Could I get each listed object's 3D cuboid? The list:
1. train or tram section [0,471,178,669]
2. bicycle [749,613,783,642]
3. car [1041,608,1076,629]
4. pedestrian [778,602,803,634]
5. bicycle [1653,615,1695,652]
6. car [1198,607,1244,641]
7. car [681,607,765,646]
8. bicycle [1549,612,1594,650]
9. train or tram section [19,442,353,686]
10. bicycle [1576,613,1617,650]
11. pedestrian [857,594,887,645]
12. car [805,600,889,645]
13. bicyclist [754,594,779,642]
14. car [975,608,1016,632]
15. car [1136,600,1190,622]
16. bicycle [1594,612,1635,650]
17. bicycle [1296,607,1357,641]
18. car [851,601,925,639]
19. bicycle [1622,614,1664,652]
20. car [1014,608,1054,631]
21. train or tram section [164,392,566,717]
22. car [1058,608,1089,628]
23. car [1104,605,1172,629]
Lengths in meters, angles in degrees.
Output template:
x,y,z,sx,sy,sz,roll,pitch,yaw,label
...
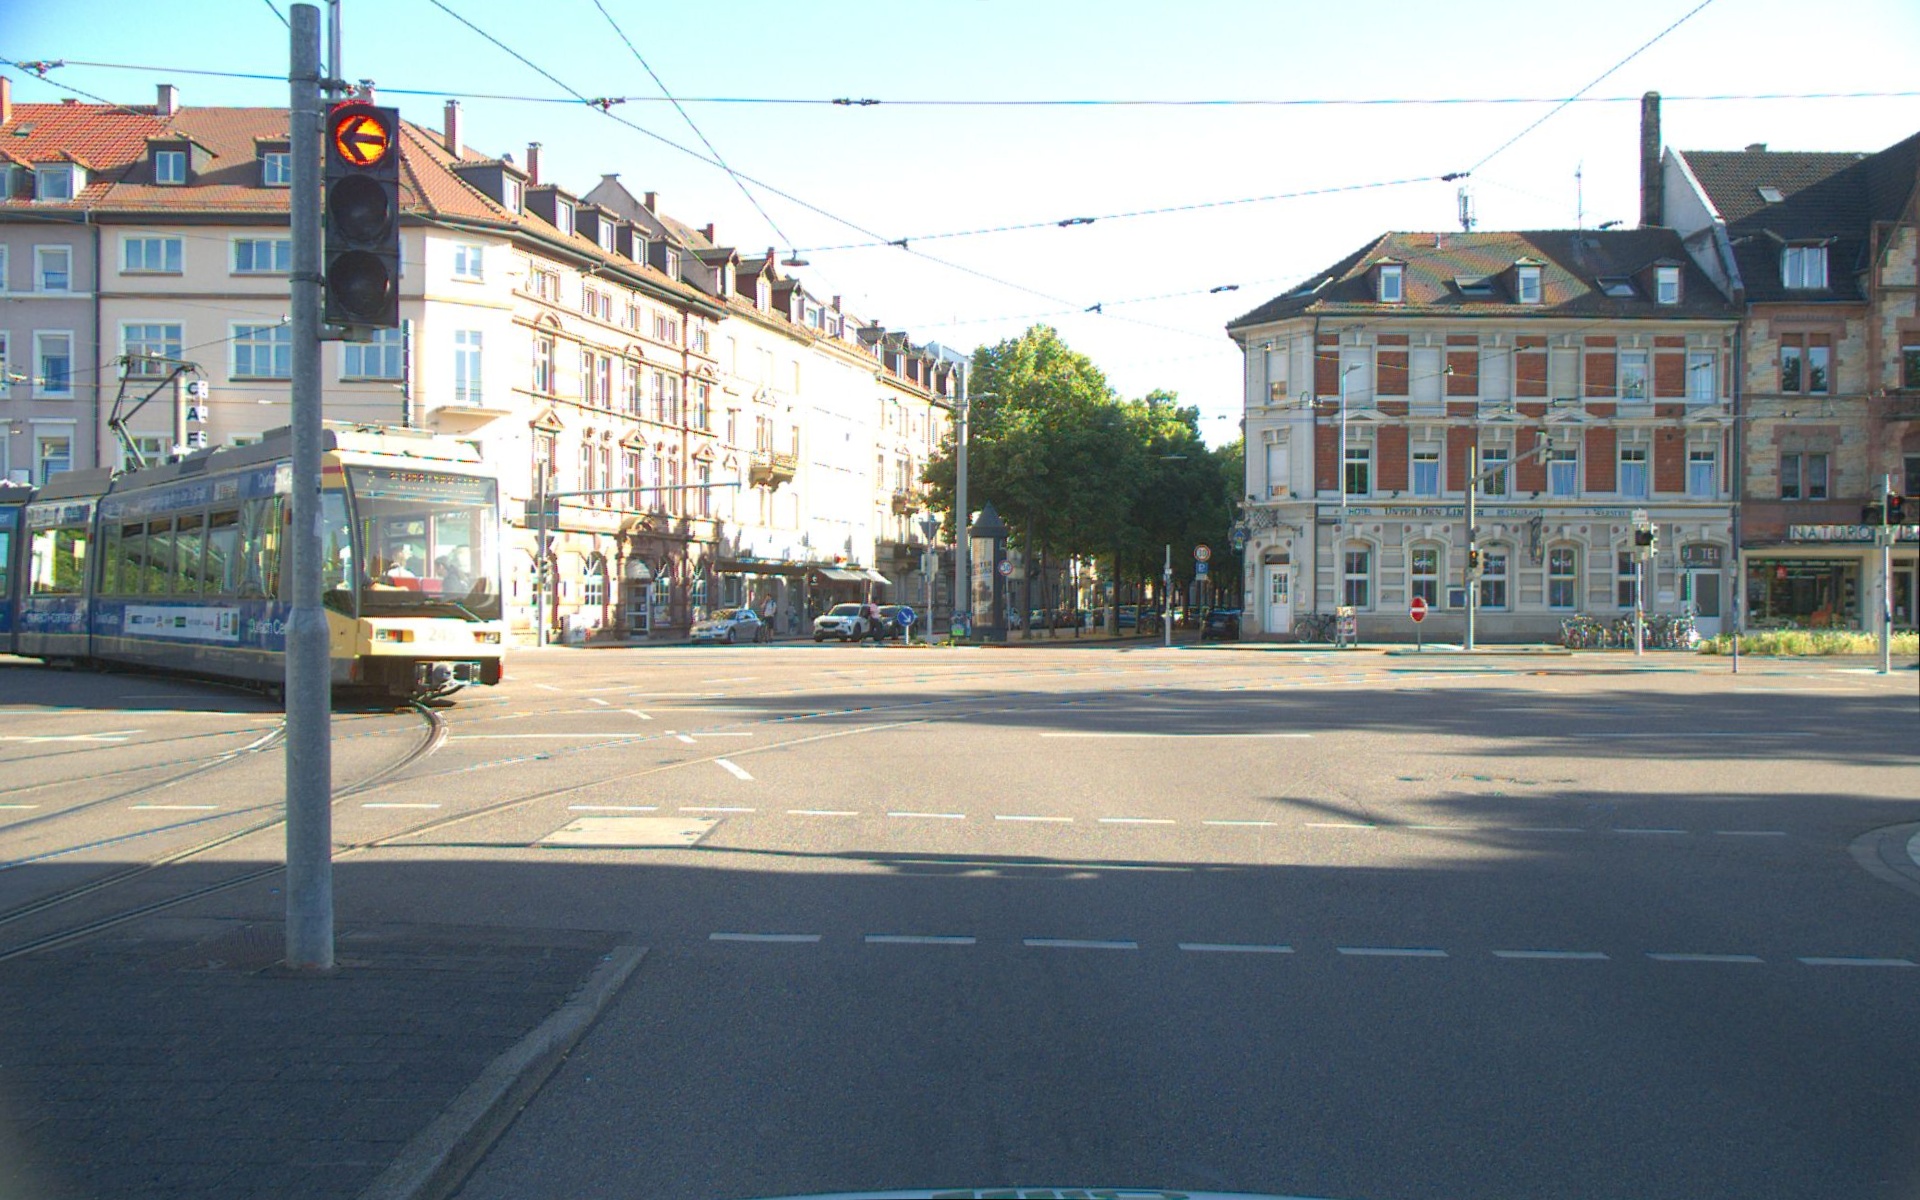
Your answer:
x,y,z,sx,sy,sz,roll,pitch,yaw,label
-21.113,-0.562,33.532,11.754,3.561,2.777,0,0,26,train or tram section
-7.599,1.080,64.885,0.665,1.085,2.127,0,0,12,bicycle
7.781,1.421,130.557,1.798,1.579,4.393,0,0,16,car
-8.440,0.906,82.506,0.908,1.562,1.138,0,0,13,pedestrian
23.033,1.061,53.391,0.596,1.156,2.136,0,0,4,bicycle
13.068,1.161,82.628,1.951,1.613,4.003,0,0,13,car
-9.529,1.034,66.895,1.858,1.481,4.002,0,0,17,car
19.818,0.991,53.652,0.789,1.163,2.175,0,0,4,bicycle
-13.418,-0.548,28.208,2.801,3.561,8.328,0,0,-43,train or tram section
20.589,1.001,53.533,0.605,1.163,2.175,0,0,4,bicycle
-3.075,0.671,57.925,1.026,1.774,0.808,0,0,-6,pedestrian
-4.545,0.883,67.248,1.951,1.713,4.393,0,0,17,car
-7.588,0.693,64.927,0.664,1.852,1.071,0,0,12,bicyclist
2.412,1.324,110.985,1.951,1.512,4.003,0,0,13,car
16.419,0.884,133.867,3.912,1.736,1.996,0,0,30,car
21.161,0.996,53.503,0.605,1.163,2.175,0,0,4,bicycle
12.747,0.820,57.577,2.045,1.144,0.366,1,-1,-5,bicycle
-3.151,0.861,73.783,1.951,1.640,4.393,0,0,17,car
22.069,1.058,53.444,0.605,1.163,2.175,0,0,4,bicycle
5.527,1.424,122.733,1.951,1.640,4.393,0,0,17,car
-8.230,-0.521,22.127,2.795,3.561,7.854,0,0,-38,train or tram section
9.393,1.460,136.458,1.727,1.576,4.394,0,0,16,car
12.442,1.197,115.564,4.290,1.640,1.998,0,0,26,car
